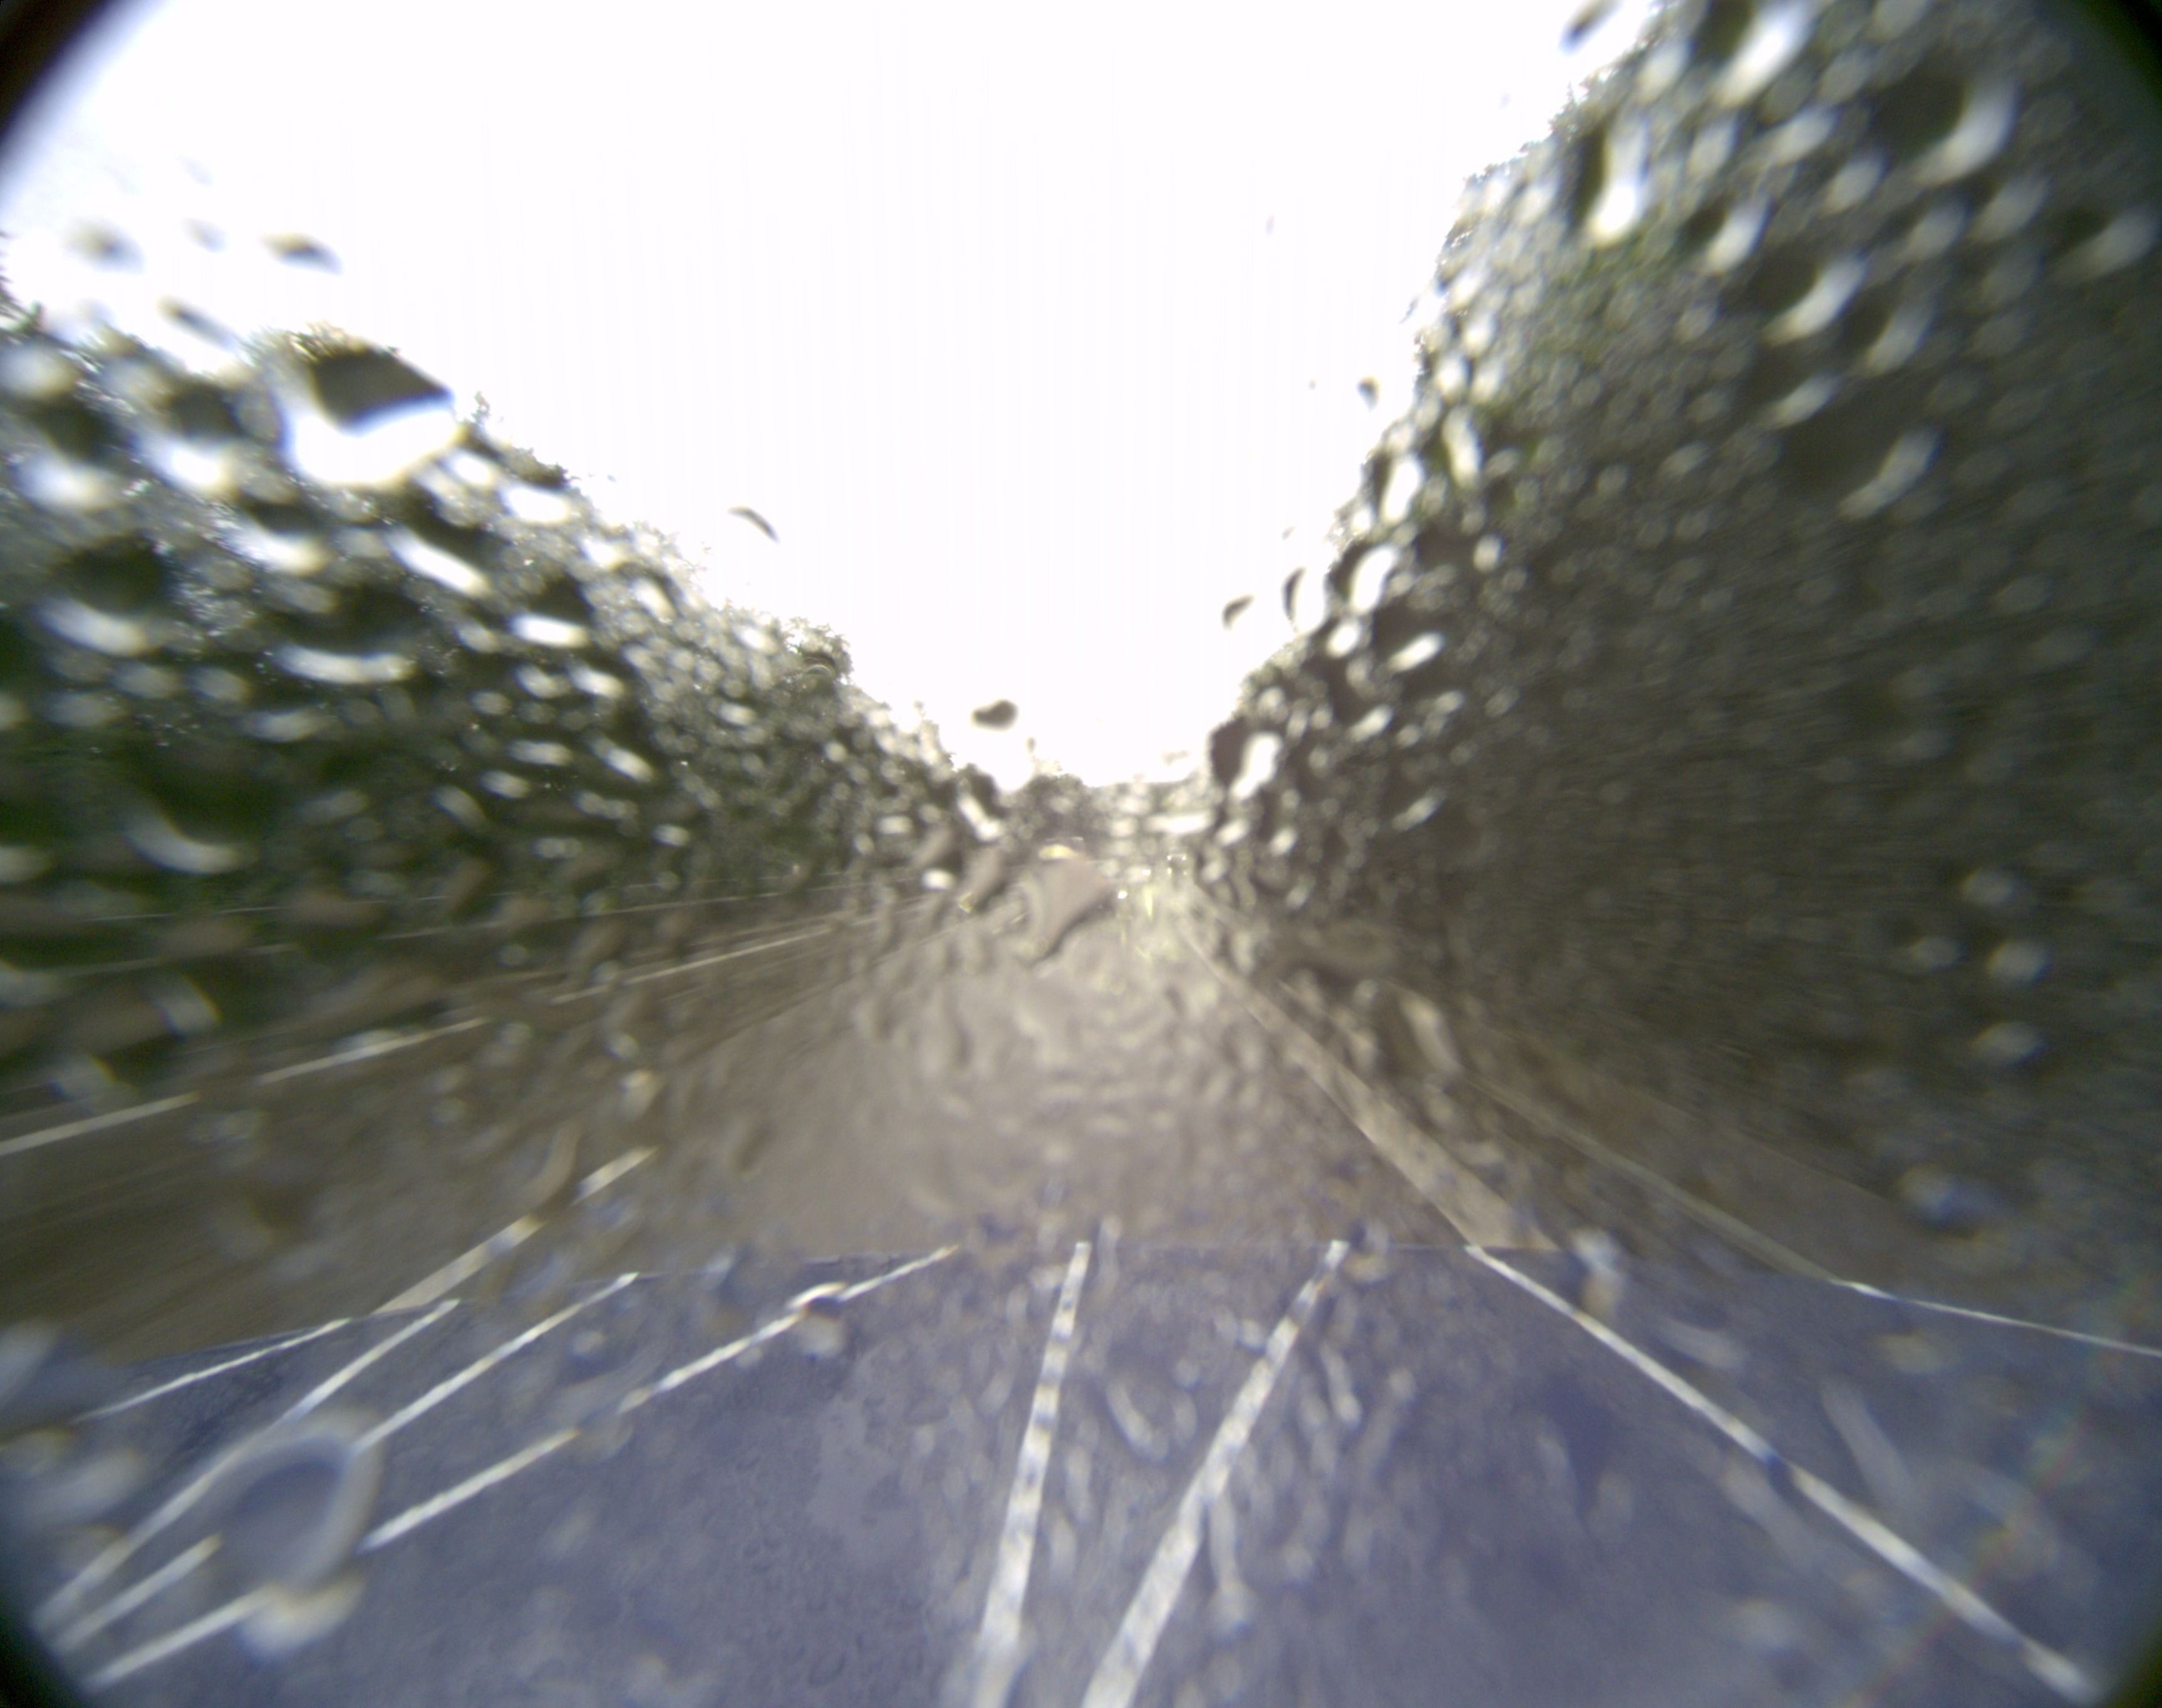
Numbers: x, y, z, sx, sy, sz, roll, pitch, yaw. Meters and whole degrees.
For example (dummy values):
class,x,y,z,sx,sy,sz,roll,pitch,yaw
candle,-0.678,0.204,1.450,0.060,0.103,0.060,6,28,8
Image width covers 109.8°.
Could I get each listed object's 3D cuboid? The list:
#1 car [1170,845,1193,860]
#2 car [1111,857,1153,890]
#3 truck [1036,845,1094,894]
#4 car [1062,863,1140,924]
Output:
class,x,y,z,sx,sy,sz,roll,pitch,yaw
car,10.456,-0.178,78.737,1.825,1.375,4.004,-4,0,15
car,2.585,0.923,37.514,1.826,1.375,4.002,-4,0,6
truck,-0.772,0.856,43.679,2.107,2.481,8.008,2,0,7
car,0.637,0.982,20.299,1.827,1.375,4.001,-2,0,5
